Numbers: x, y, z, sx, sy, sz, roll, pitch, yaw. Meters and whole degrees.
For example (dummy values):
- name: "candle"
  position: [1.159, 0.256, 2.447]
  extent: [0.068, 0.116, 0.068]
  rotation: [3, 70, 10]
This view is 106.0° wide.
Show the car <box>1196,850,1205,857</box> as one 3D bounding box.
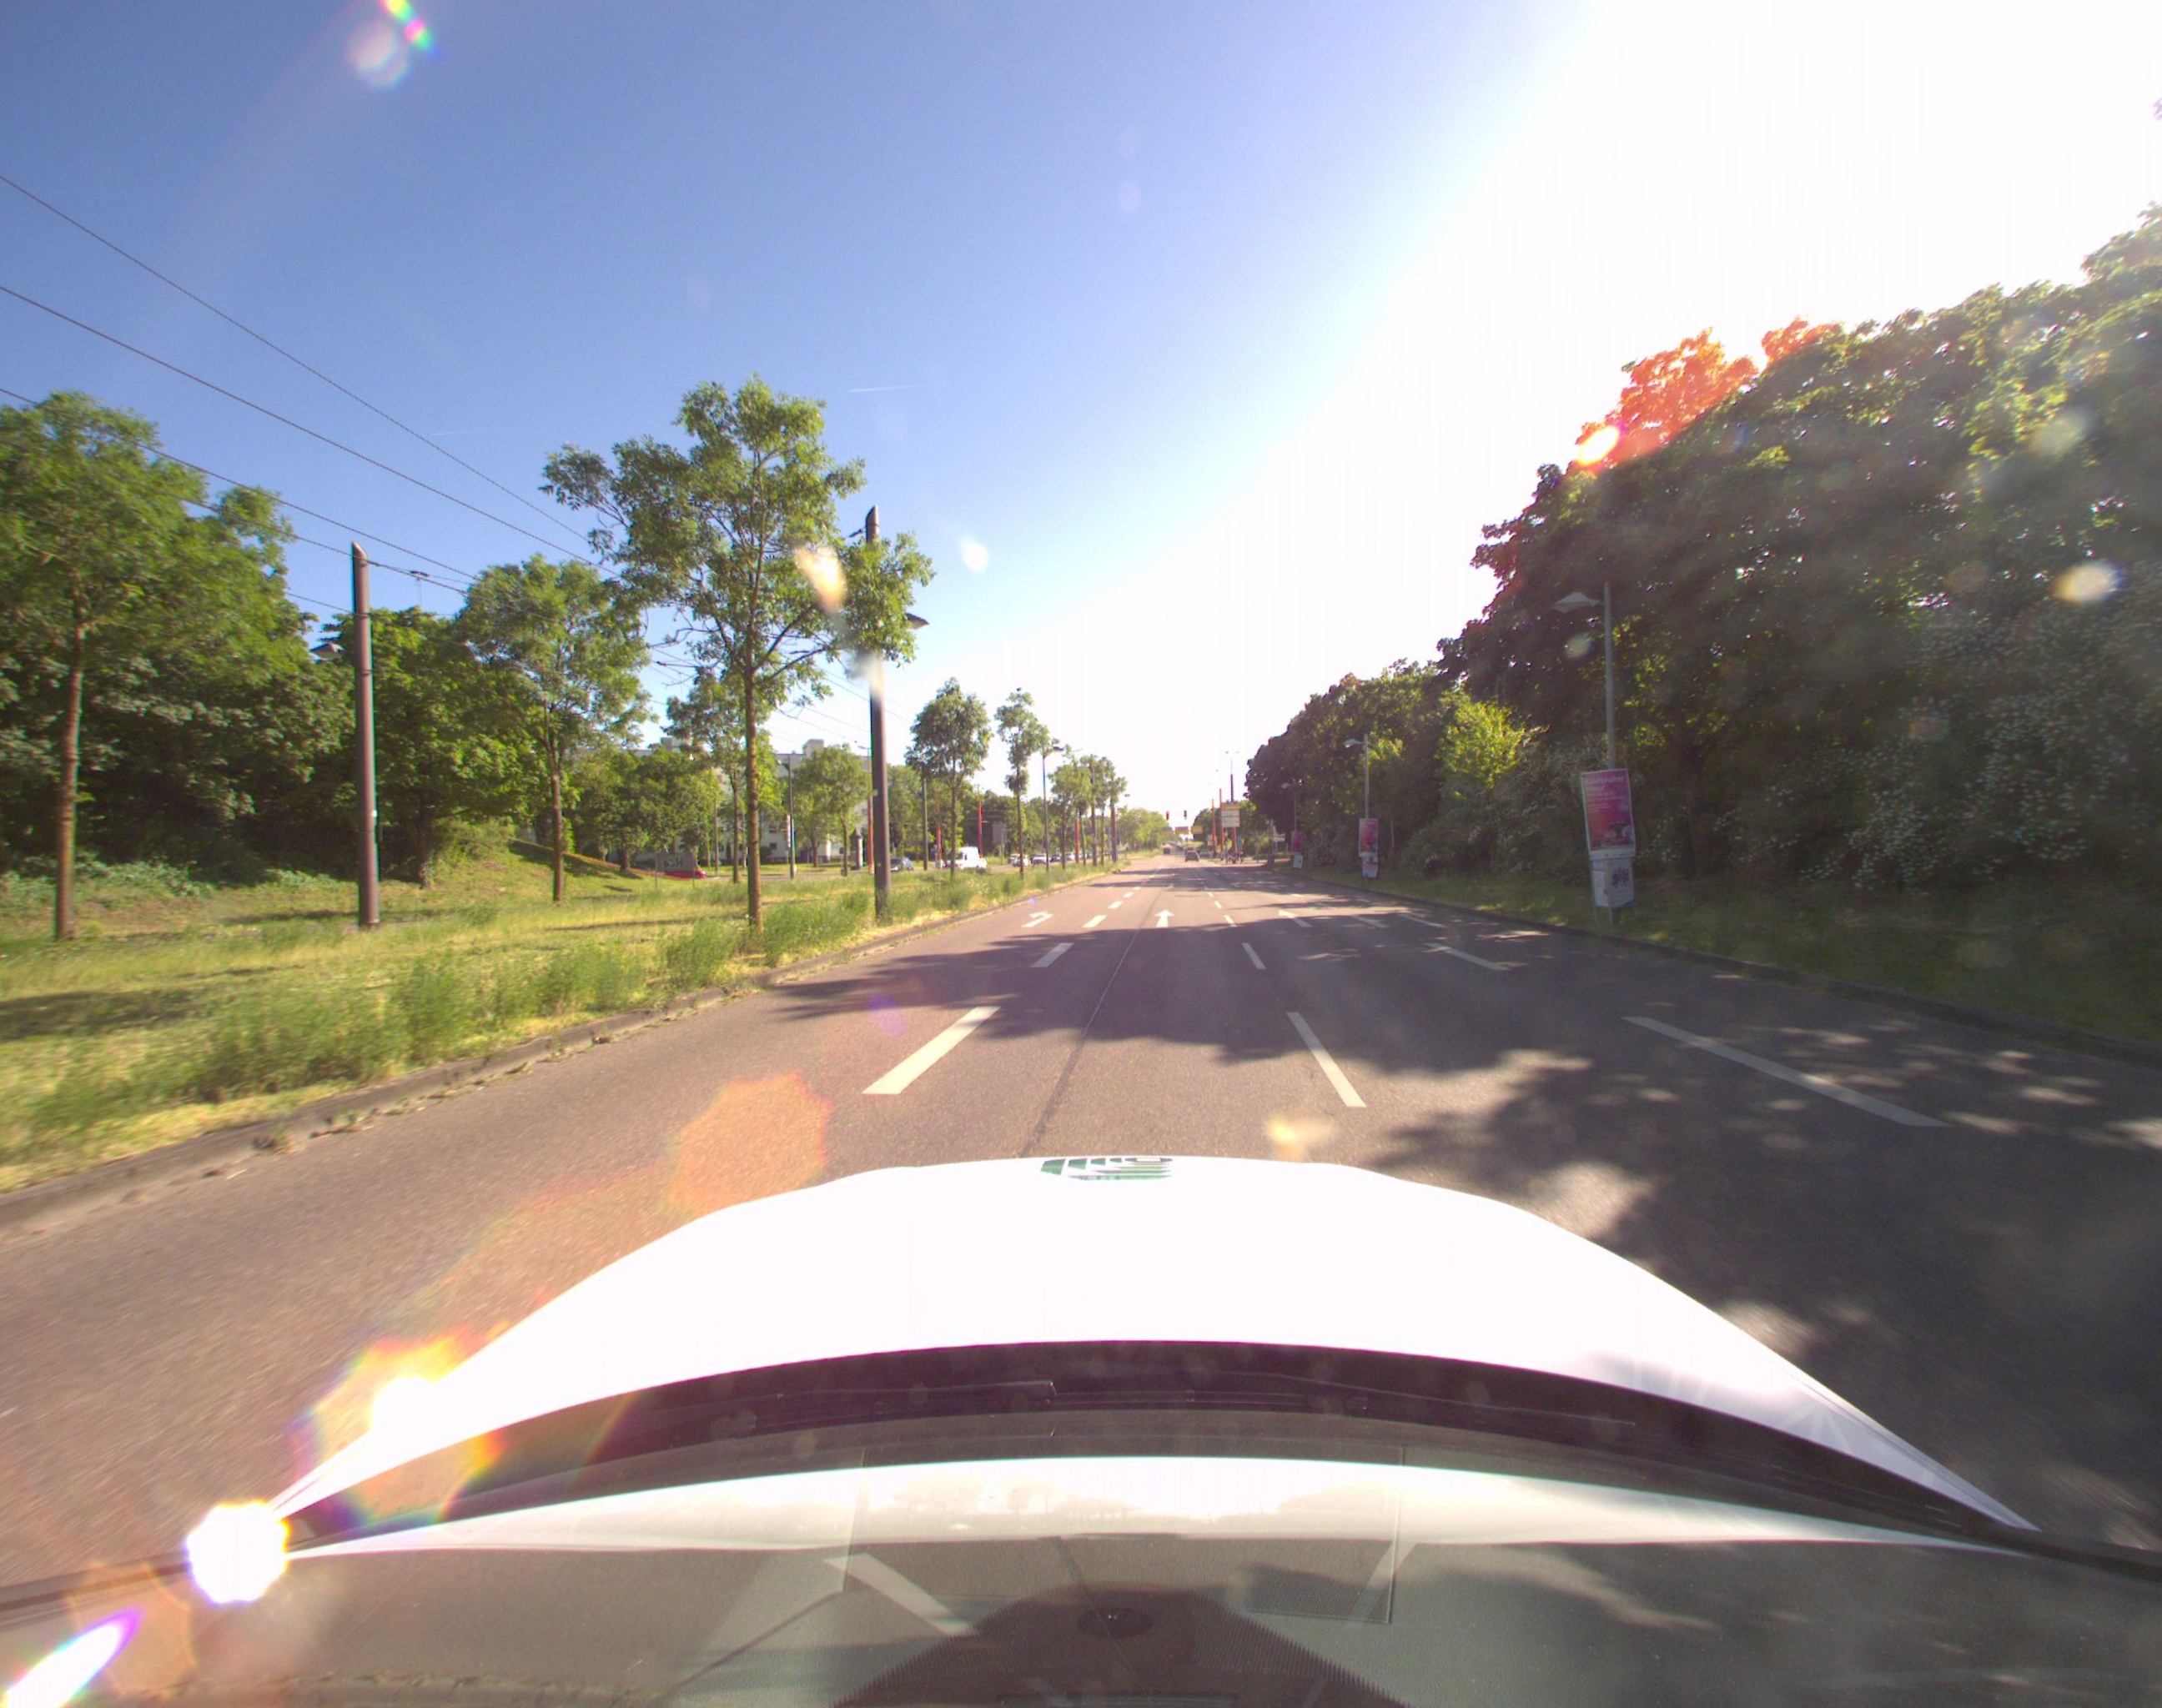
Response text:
- name: "car"
  position: [27.914, -0.080, 191.014]
  extent: [1.983, 1.540, 4.008]
  rotation: [-1, 0, 7]

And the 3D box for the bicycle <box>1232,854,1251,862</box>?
- name: "bicycle"
  position: [18.860, 0.505, 95.518]
  extent: [2.158, 0.878, 0.559]
  rotation: [-1, 0, -5]

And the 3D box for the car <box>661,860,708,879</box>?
- name: "car"
  position: [-40.974, 1.596, 84.176]
  extent: [4.281, 1.901, 1.984]
  rotation: [-1, 0, -25]

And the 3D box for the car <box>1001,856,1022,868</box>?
- name: "car"
  position: [-12.155, 1.333, 142.098]
  extent: [1.977, 2.013, 4.430]
  rotation: [-1, 0, 20]

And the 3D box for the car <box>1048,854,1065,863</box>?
- name: "car"
  position: [-4.013, 0.699, 136.442]
  extent: [1.982, 1.409, 5.001]
  rotation: [-1, 0, 8]

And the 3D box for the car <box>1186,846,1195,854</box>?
- name: "car"
  position: [27.868, -1.004, 206.933]
  extent: [2.143, 2.013, 4.008]
  rotation: [-2, 0, 7]

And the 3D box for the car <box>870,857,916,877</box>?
- name: "car"
  position: [-15.384, 1.024, 66.929]
  extent: [1.983, 1.584, 5.282]
  rotation: [-1, 0, 6]

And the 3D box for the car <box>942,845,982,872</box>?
- name: "car"
  position: [-11.255, 0.395, 77.336]
  extent: [2.029, 2.369, 6.893]
  rotation: [-1, 0, 7]

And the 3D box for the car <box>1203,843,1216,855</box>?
- name: "car"
  position: [21.554, -0.780, 136.483]
  extent: [1.983, 1.887, 4.008]
  rotation: [-2, 0, 7]

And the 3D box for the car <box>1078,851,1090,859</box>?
- name: "car"
  position: [0.761, 0.246, 178.659]
  extent: [1.982, 1.594, 4.474]
  rotation: [-2, 0, 8]

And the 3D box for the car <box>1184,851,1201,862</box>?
- name: "car"
  position: [15.246, 0.367, 111.436]
  extent: [1.986, 1.496, 4.002]
  rotation: [-1, 0, 2]

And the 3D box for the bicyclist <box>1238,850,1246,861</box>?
- name: "bicyclist"
  position: [18.865, 0.167, 95.537]
  extent: [0.738, 1.341, 0.707]
  rotation: [-1, 0, -3]

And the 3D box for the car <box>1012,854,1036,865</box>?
- name: "car"
  position: [-7.526, 0.748, 107.605]
  extent: [1.886, 1.398, 4.560]
  rotation: [-1, 0, 14]

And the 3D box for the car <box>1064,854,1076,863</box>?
- name: "car"
  position: [-2.011, 0.782, 149.815]
  extent: [1.753, 1.608, 3.766]
  rotation: [-2, 0, 7]

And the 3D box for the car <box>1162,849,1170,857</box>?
- name: "car"
  position: [22.363, -0.322, 214.000]
  extent: [1.983, 2.013, 4.007]
  rotation: [-1, 0, 6]

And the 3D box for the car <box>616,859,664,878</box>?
- name: "car"
  position: [-46.429, 1.506, 85.832]
  extent: [4.281, 1.901, 1.984]
  rotation: [-1, 0, -25]

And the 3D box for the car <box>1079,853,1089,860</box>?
- name: "car"
  position: [0.649, 0.440, 170.138]
  extent: [1.695, 1.423, 4.651]
  rotation: [-2, 0, 6]

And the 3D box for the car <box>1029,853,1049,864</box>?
- name: "car"
  position: [-6.217, 0.663, 120.641]
  extent: [1.883, 1.621, 4.669]
  rotation: [-1, 0, 9]

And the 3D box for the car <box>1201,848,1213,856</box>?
- name: "car"
  position: [23.975, -0.334, 154.875]
  extent: [1.983, 1.540, 4.008]
  rotation: [-1, 0, 7]
